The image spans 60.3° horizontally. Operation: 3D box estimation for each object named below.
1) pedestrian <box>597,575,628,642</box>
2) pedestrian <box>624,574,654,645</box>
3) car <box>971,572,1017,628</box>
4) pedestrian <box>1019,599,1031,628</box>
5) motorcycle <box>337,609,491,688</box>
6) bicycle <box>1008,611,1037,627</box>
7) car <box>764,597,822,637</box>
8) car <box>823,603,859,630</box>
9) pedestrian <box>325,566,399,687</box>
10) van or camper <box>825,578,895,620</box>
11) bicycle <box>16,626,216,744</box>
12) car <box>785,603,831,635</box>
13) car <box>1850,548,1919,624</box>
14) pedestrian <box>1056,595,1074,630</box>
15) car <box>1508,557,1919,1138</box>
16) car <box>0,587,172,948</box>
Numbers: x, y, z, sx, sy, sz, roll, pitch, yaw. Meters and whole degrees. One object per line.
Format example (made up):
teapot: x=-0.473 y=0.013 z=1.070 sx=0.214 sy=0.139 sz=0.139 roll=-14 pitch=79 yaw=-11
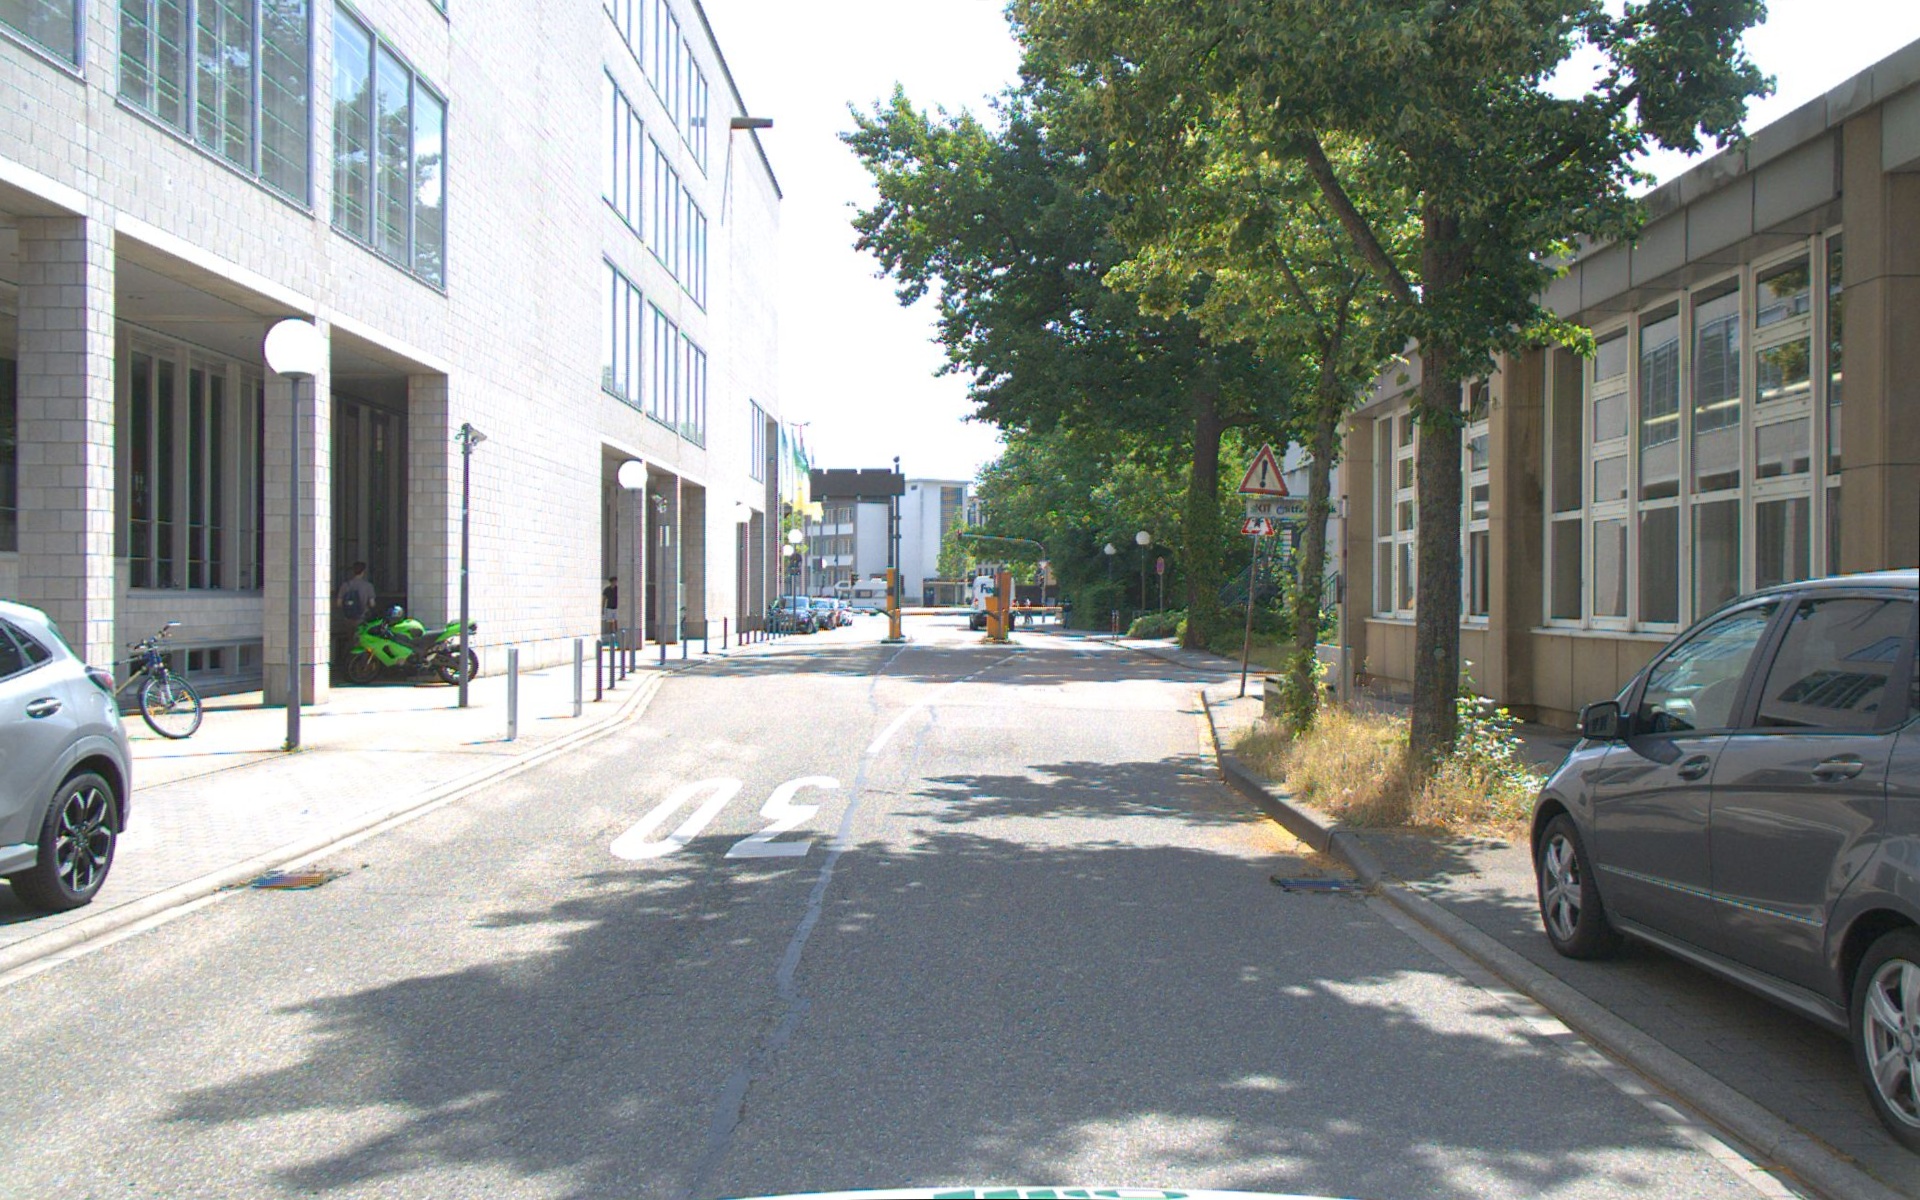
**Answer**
pedestrian: x=-10.169 y=0.247 z=48.386 sx=0.716 sy=1.913 sz=0.720 roll=1 pitch=0 yaw=0
pedestrian: x=-9.395 y=0.268 z=48.417 sx=0.684 sy=2.049 sz=0.830 roll=1 pitch=0 yaw=0
car: x=1.621 y=-0.010 z=80.840 sx=2.052 sy=2.611 sz=5.601 roll=0 pitch=0 yaw=-1
pedestrian: x=4.179 y=0.863 z=106.982 sx=0.751 sy=1.892 sz=0.722 roll=0 pitch=0 yaw=1
motorcycle: x=-8.316 y=0.740 z=25.265 sx=2.126 sy=1.158 sz=0.773 roll=1 pitch=0 yaw=-11
bicycle: x=4.162 y=1.265 z=110.168 sx=2.088 sy=1.013 sz=0.669 roll=1 pitch=0 yaw=-41
car: x=-6.676 y=0.652 z=66.446 sx=1.821 sy=1.493 sz=4.718 roll=2 pitch=0 yaw=-1
car: x=-6.822 y=0.924 z=94.932 sx=1.642 sy=1.419 sz=4.662 roll=2 pitch=0 yaw=0
pedestrian: x=-9.409 y=0.407 z=26.055 sx=0.786 sy=1.836 sz=0.924 roll=-2 pitch=0 yaw=0
van or camper: x=-8.038 y=-0.053 z=133.355 sx=5.597 sy=3.316 sz=2.354 roll=0 pitch=0 yaw=-3
bicycle: x=-8.195 y=0.822 z=16.106 sx=1.607 sy=1.105 sz=0.607 roll=1 pitch=0 yaw=-6
car: x=-7.182 y=0.868 z=78.545 sx=1.822 sy=1.402 sz=5.015 roll=2 pitch=0 yaw=-1
car: x=20.785 y=-0.295 z=35.165 sx=1.593 sy=1.579 sz=3.621 roll=0 pitch=0 yaw=-4
pedestrian: x=5.141 y=0.626 z=81.234 sx=0.724 sy=1.704 sz=1.255 roll=0 pitch=0 yaw=-4
car: x=3.462 y=0.658 z=5.837 sx=1.720 sy=1.596 sz=3.817 roll=-1 pitch=0 yaw=-1
car: x=-4.983 y=0.691 z=6.419 sx=1.691 sy=1.562 sz=4.405 roll=2 pitch=-1 yaw=0
